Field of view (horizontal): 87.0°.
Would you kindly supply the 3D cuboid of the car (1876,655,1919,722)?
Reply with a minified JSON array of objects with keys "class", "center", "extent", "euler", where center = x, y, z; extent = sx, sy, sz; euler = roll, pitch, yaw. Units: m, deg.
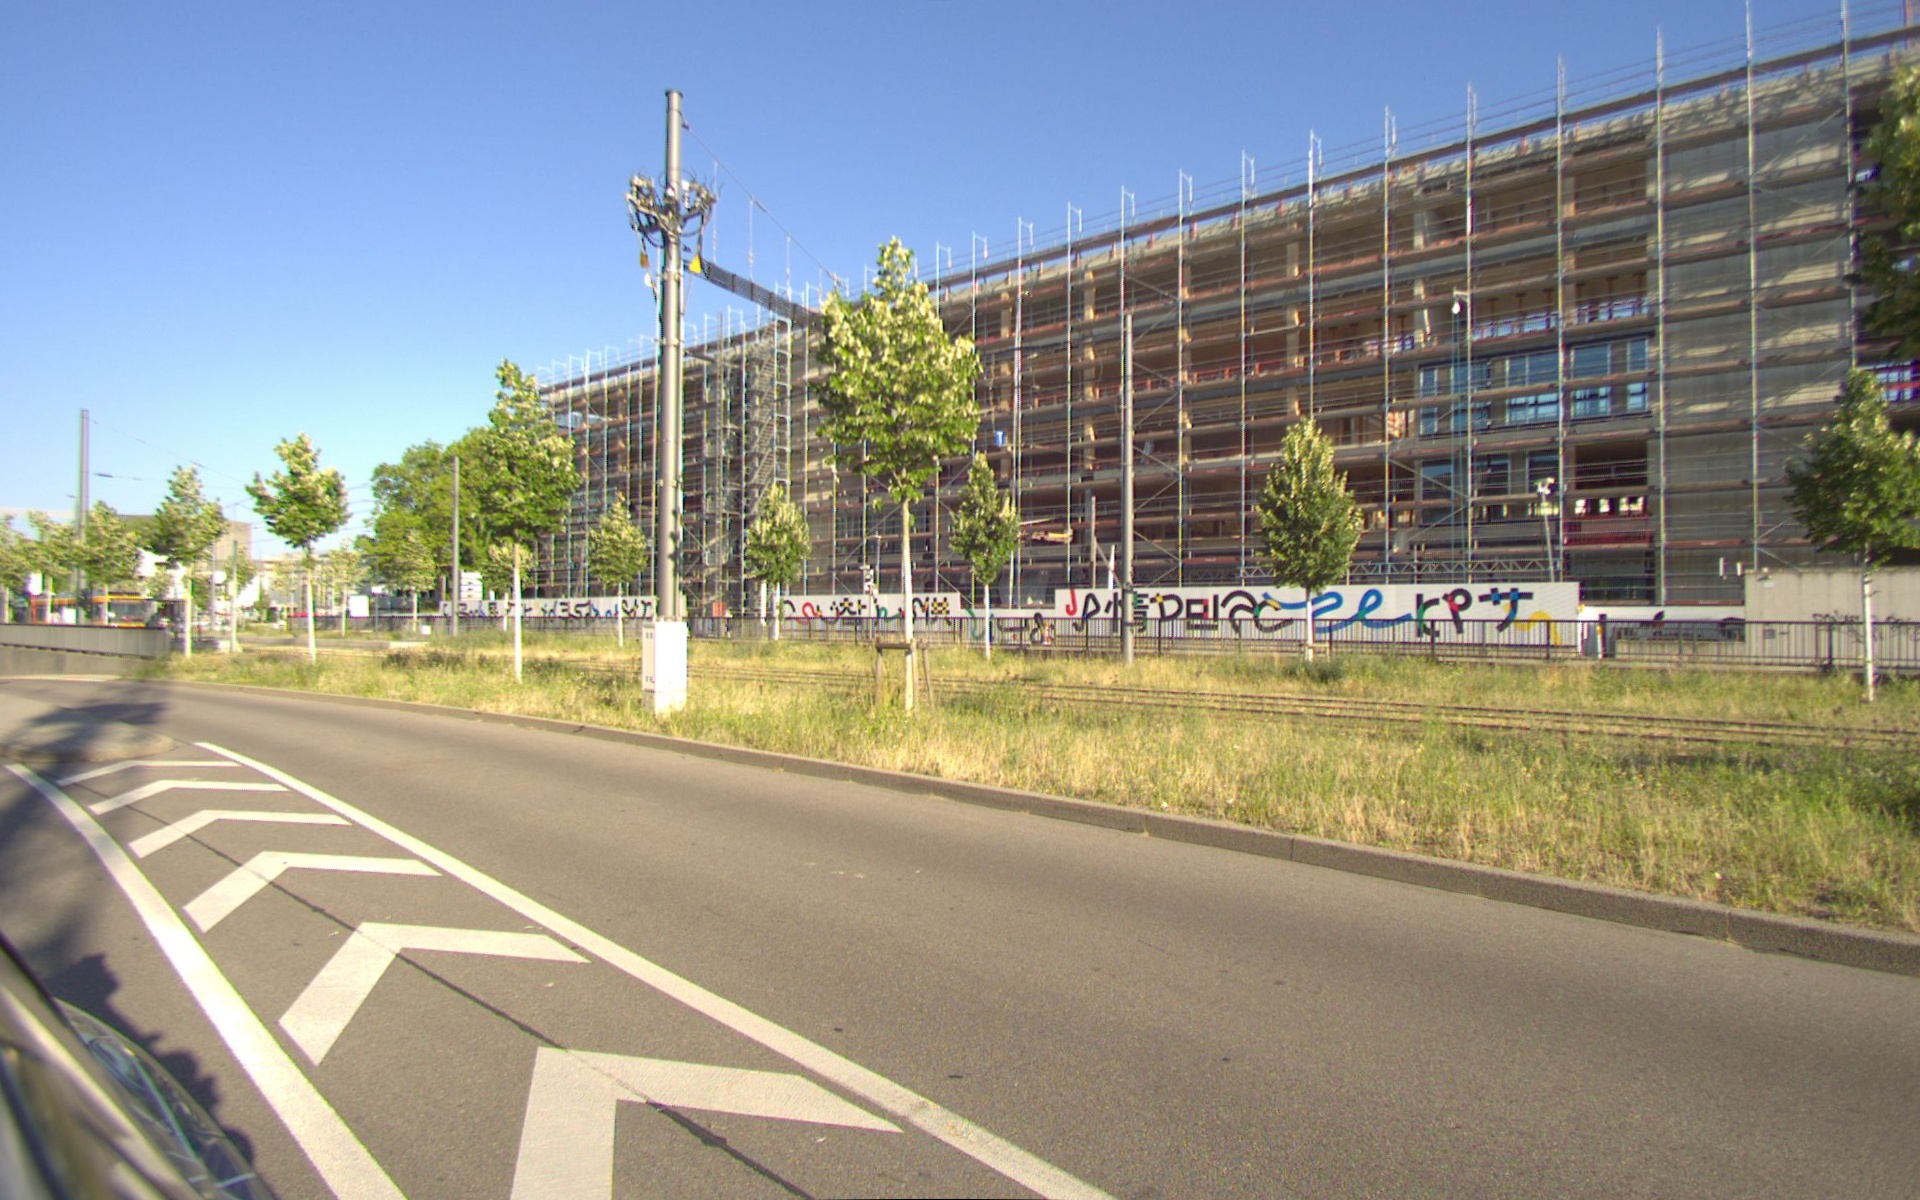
[{"class":"car","center":[21.339,1.826,20.469],"extent":[4.091,1.320,1.511],"euler":[-1,-1,41]}]

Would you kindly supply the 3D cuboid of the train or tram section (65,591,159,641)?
[{"class":"train or tram section","center":[-62.522,1.135,74.490],"extent":[12.619,3.423,2.917],"euler":[-1,0,39]}]

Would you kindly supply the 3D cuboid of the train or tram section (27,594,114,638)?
[{"class":"train or tram section","center":[-73.187,1.288,83.099],"extent":[14.749,3.423,2.917],"euler":[-1,0,39]}]
